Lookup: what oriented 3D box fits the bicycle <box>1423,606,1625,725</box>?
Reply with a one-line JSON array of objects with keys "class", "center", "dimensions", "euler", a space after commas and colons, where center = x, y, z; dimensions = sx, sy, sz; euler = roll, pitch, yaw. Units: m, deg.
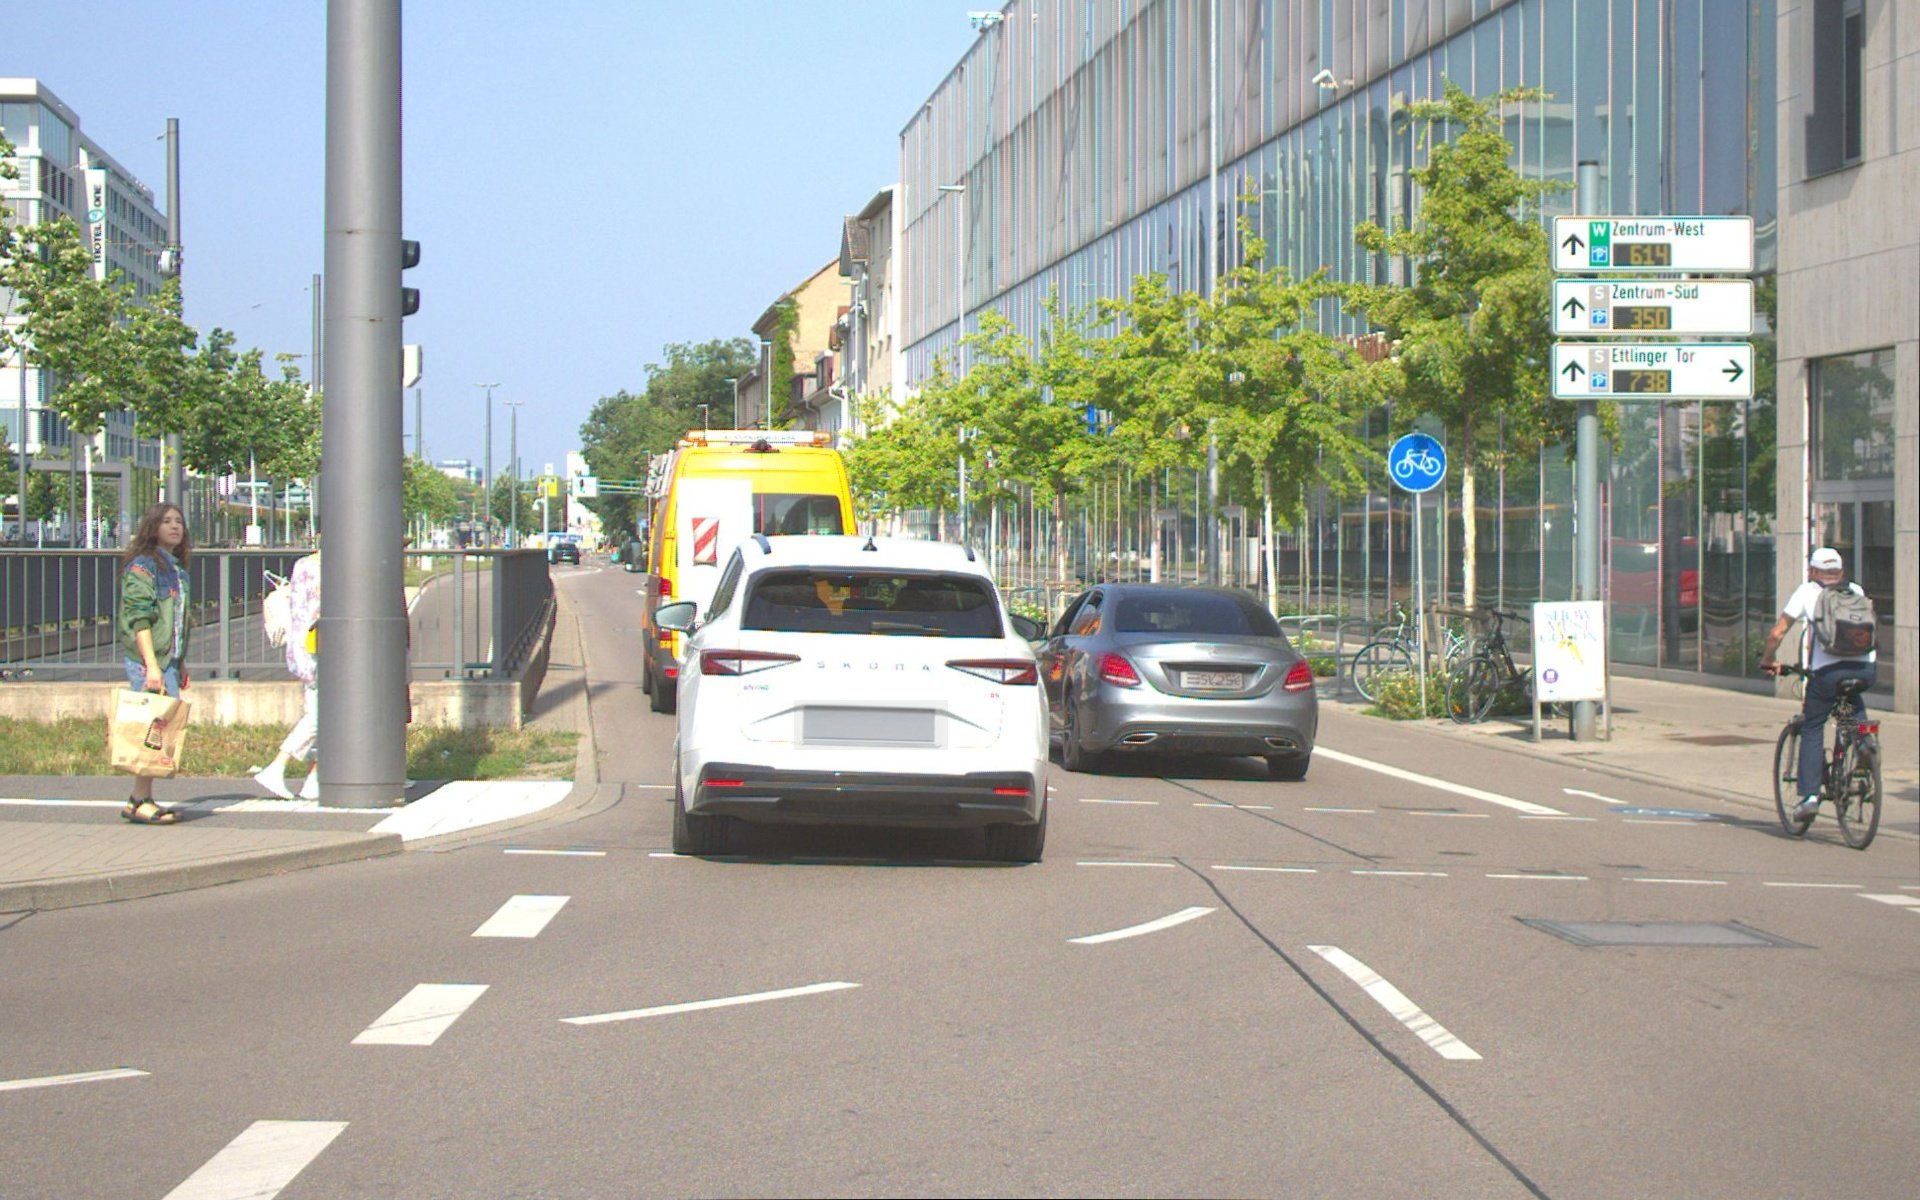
[{"class": "bicycle", "center": [5.620, 0.650, 34.295], "dimensions": [1.839, 1.109, 0.687], "euler": [2, 1, -4]}]

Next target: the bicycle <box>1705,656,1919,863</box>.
[{"class": "bicycle", "center": [5.122, 0.934, 20.769], "dimensions": [0.661, 1.113, 2.051], "euler": [0, 1, -4]}]

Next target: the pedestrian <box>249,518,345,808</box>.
[{"class": "pedestrian", "center": [-3.832, 0.350, 19.897], "dimensions": [0.467, 1.644, 0.777], "euler": [1, 1, -6]}]

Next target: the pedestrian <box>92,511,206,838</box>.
[{"class": "pedestrian", "center": [-4.169, 0.369, 17.697], "dimensions": [0.467, 1.644, 0.777], "euler": [1, 1, -6]}]

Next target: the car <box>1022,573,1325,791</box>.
[{"class": "car", "center": [1.548, 0.565, 26.329], "dimensions": [1.760, 1.431, 4.116], "euler": [2, 1, -4]}]

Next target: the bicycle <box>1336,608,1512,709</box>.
[{"class": "bicycle", "center": [5.188, 0.653, 38.452], "dimensions": [1.878, 1.105, 0.490], "euler": [0, 1, -4]}]

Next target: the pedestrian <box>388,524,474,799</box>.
[{"class": "pedestrian", "center": [-3.224, 0.363, 20.997], "dimensions": [0.467, 1.644, 0.777], "euler": [1, 1, -6]}]

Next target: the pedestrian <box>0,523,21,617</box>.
[{"class": "pedestrian", "center": [-16.671, -0.516, 59.426], "dimensions": [0.735, 1.613, 0.711], "euler": [1, 1, -7]}]

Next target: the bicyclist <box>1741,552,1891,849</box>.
[{"class": "bicyclist", "center": [5.132, 0.587, 20.641], "dimensions": [0.651, 1.743, 0.769], "euler": [0, 1, -4]}]

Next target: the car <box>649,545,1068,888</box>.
[{"class": "car", "center": [-0.646, 0.511, 17.968], "dimensions": [1.869, 1.569, 4.001], "euler": [0, 1, -6]}]

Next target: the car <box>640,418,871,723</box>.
[{"class": "car", "center": [-2.126, -0.341, 34.260], "dimensions": [2.020, 2.786, 5.402], "euler": [0, 2, -6]}]
